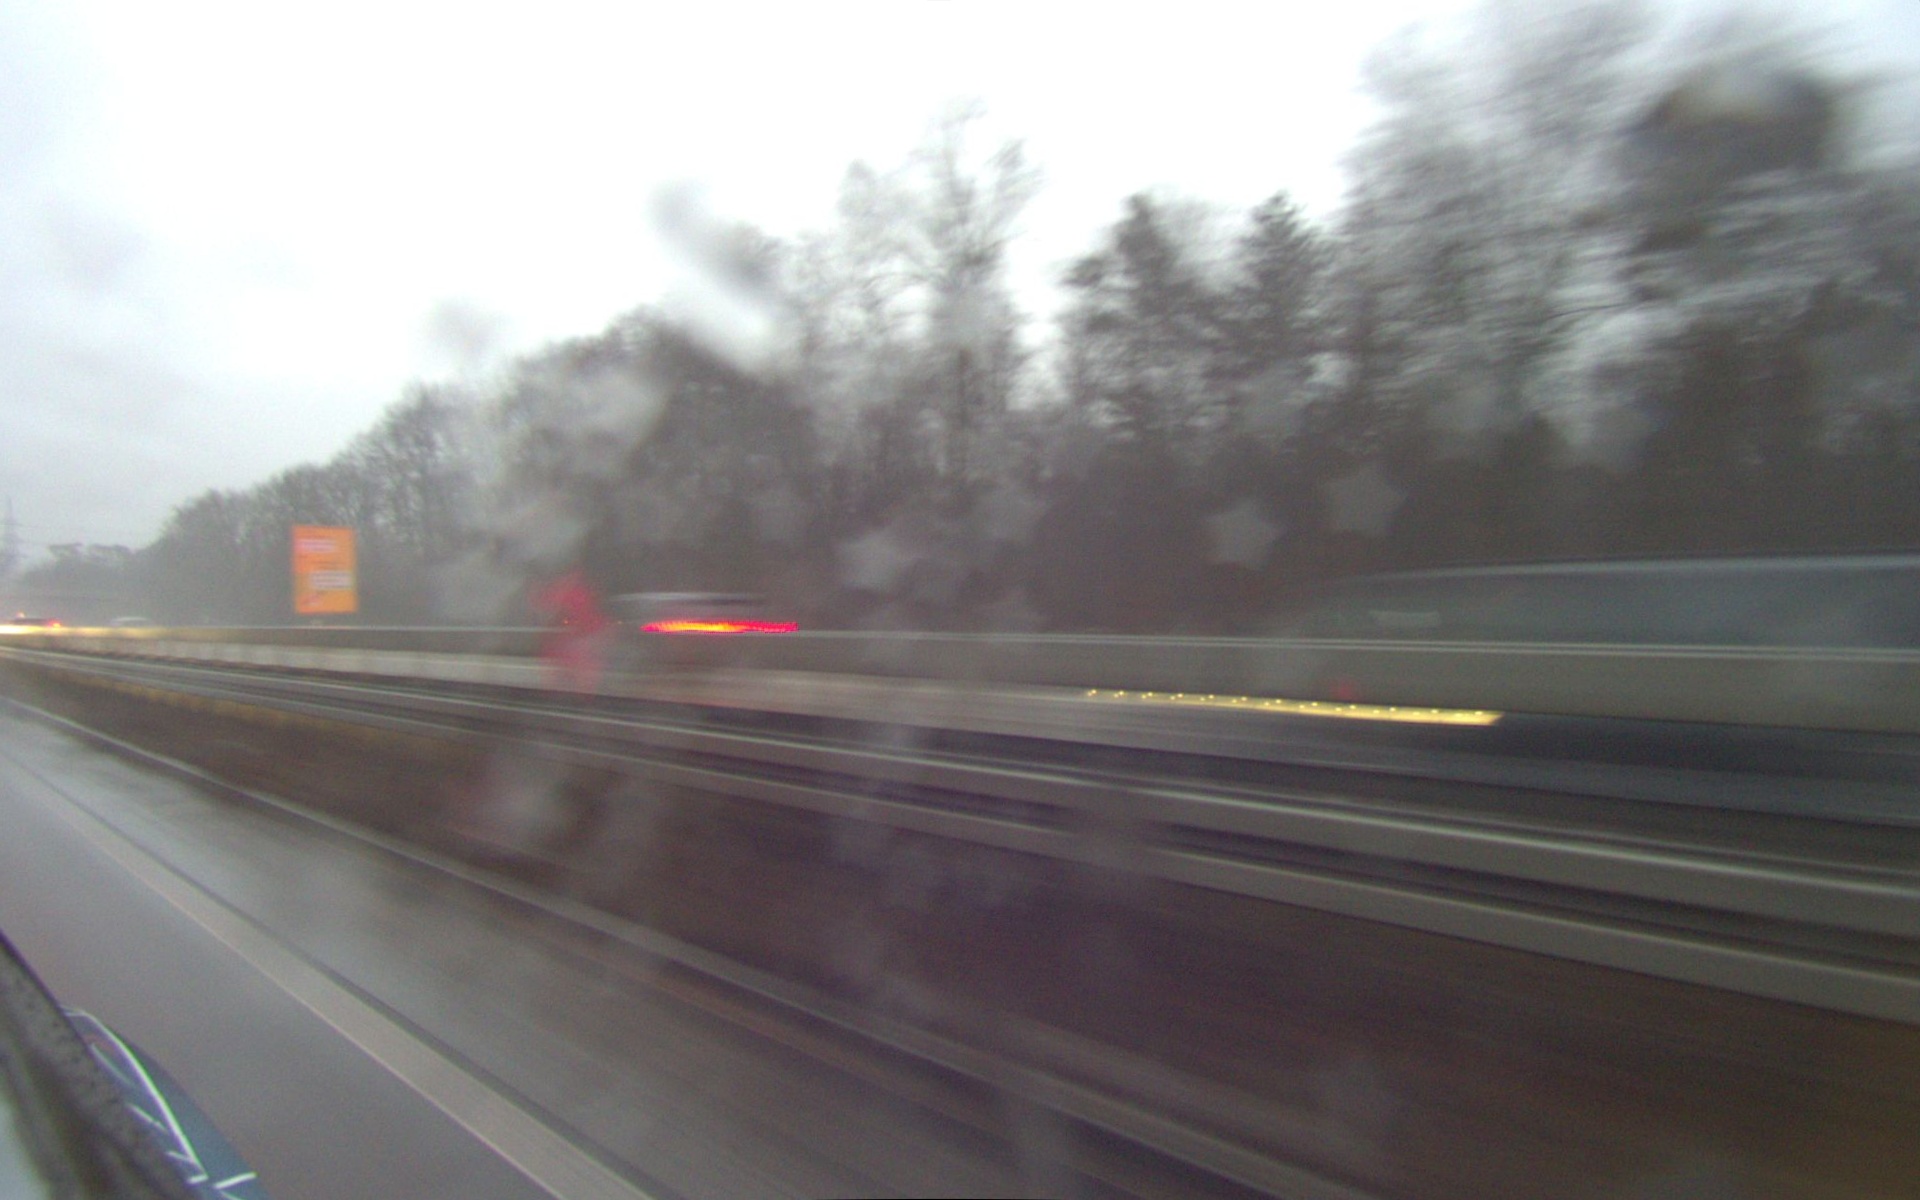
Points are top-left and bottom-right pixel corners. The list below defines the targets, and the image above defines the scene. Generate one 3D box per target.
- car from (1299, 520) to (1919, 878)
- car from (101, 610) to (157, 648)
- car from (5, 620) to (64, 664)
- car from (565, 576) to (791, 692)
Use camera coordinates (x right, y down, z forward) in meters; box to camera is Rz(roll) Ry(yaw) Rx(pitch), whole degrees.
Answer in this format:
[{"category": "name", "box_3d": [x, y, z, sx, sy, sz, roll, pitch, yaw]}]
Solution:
[{"category": "car", "box_3d": [4.210, 0.448, 5.674, 3.997, 1.579, 1.790, -1, -1, 40]}, {"category": "car", "box_3d": [-43.623, 1.496, 53.087, 3.894, 1.880, 1.614, -1, -1, 40]}, {"category": "car", "box_3d": [-46.924, 2.080, 51.266, 4.517, 2.103, 1.704, -1, -1, 41]}, {"category": "car", "box_3d": [-5.519, 0.618, 19.495, 4.710, 1.965, 1.972, -1, -1, 42]}]
